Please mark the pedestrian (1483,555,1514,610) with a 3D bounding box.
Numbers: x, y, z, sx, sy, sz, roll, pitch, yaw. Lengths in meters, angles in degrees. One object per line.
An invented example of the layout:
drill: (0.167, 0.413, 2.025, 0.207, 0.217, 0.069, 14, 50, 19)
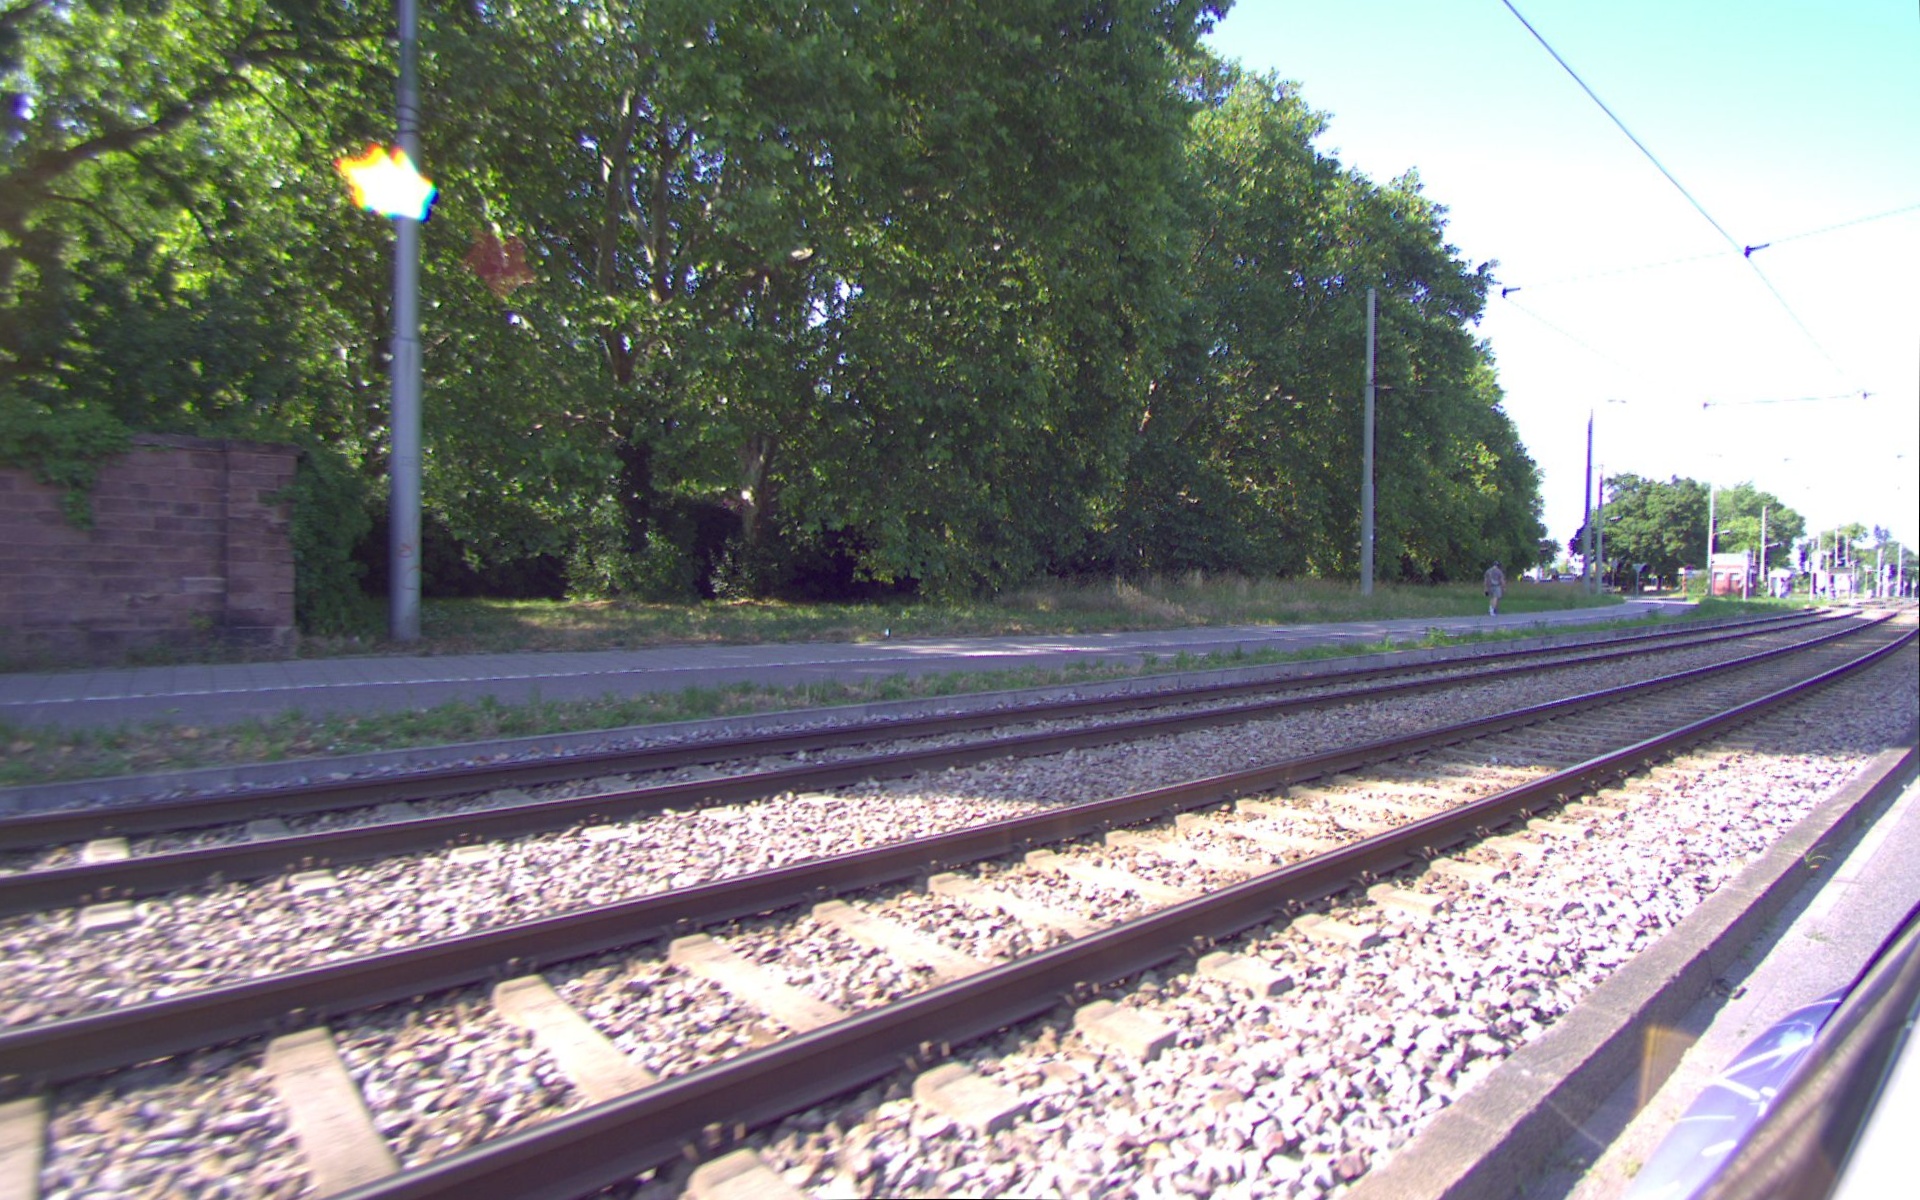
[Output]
pedestrian: (17.146, -0.566, 32.204, 0.869, 1.737, 0.502, 0, 2, -36)
